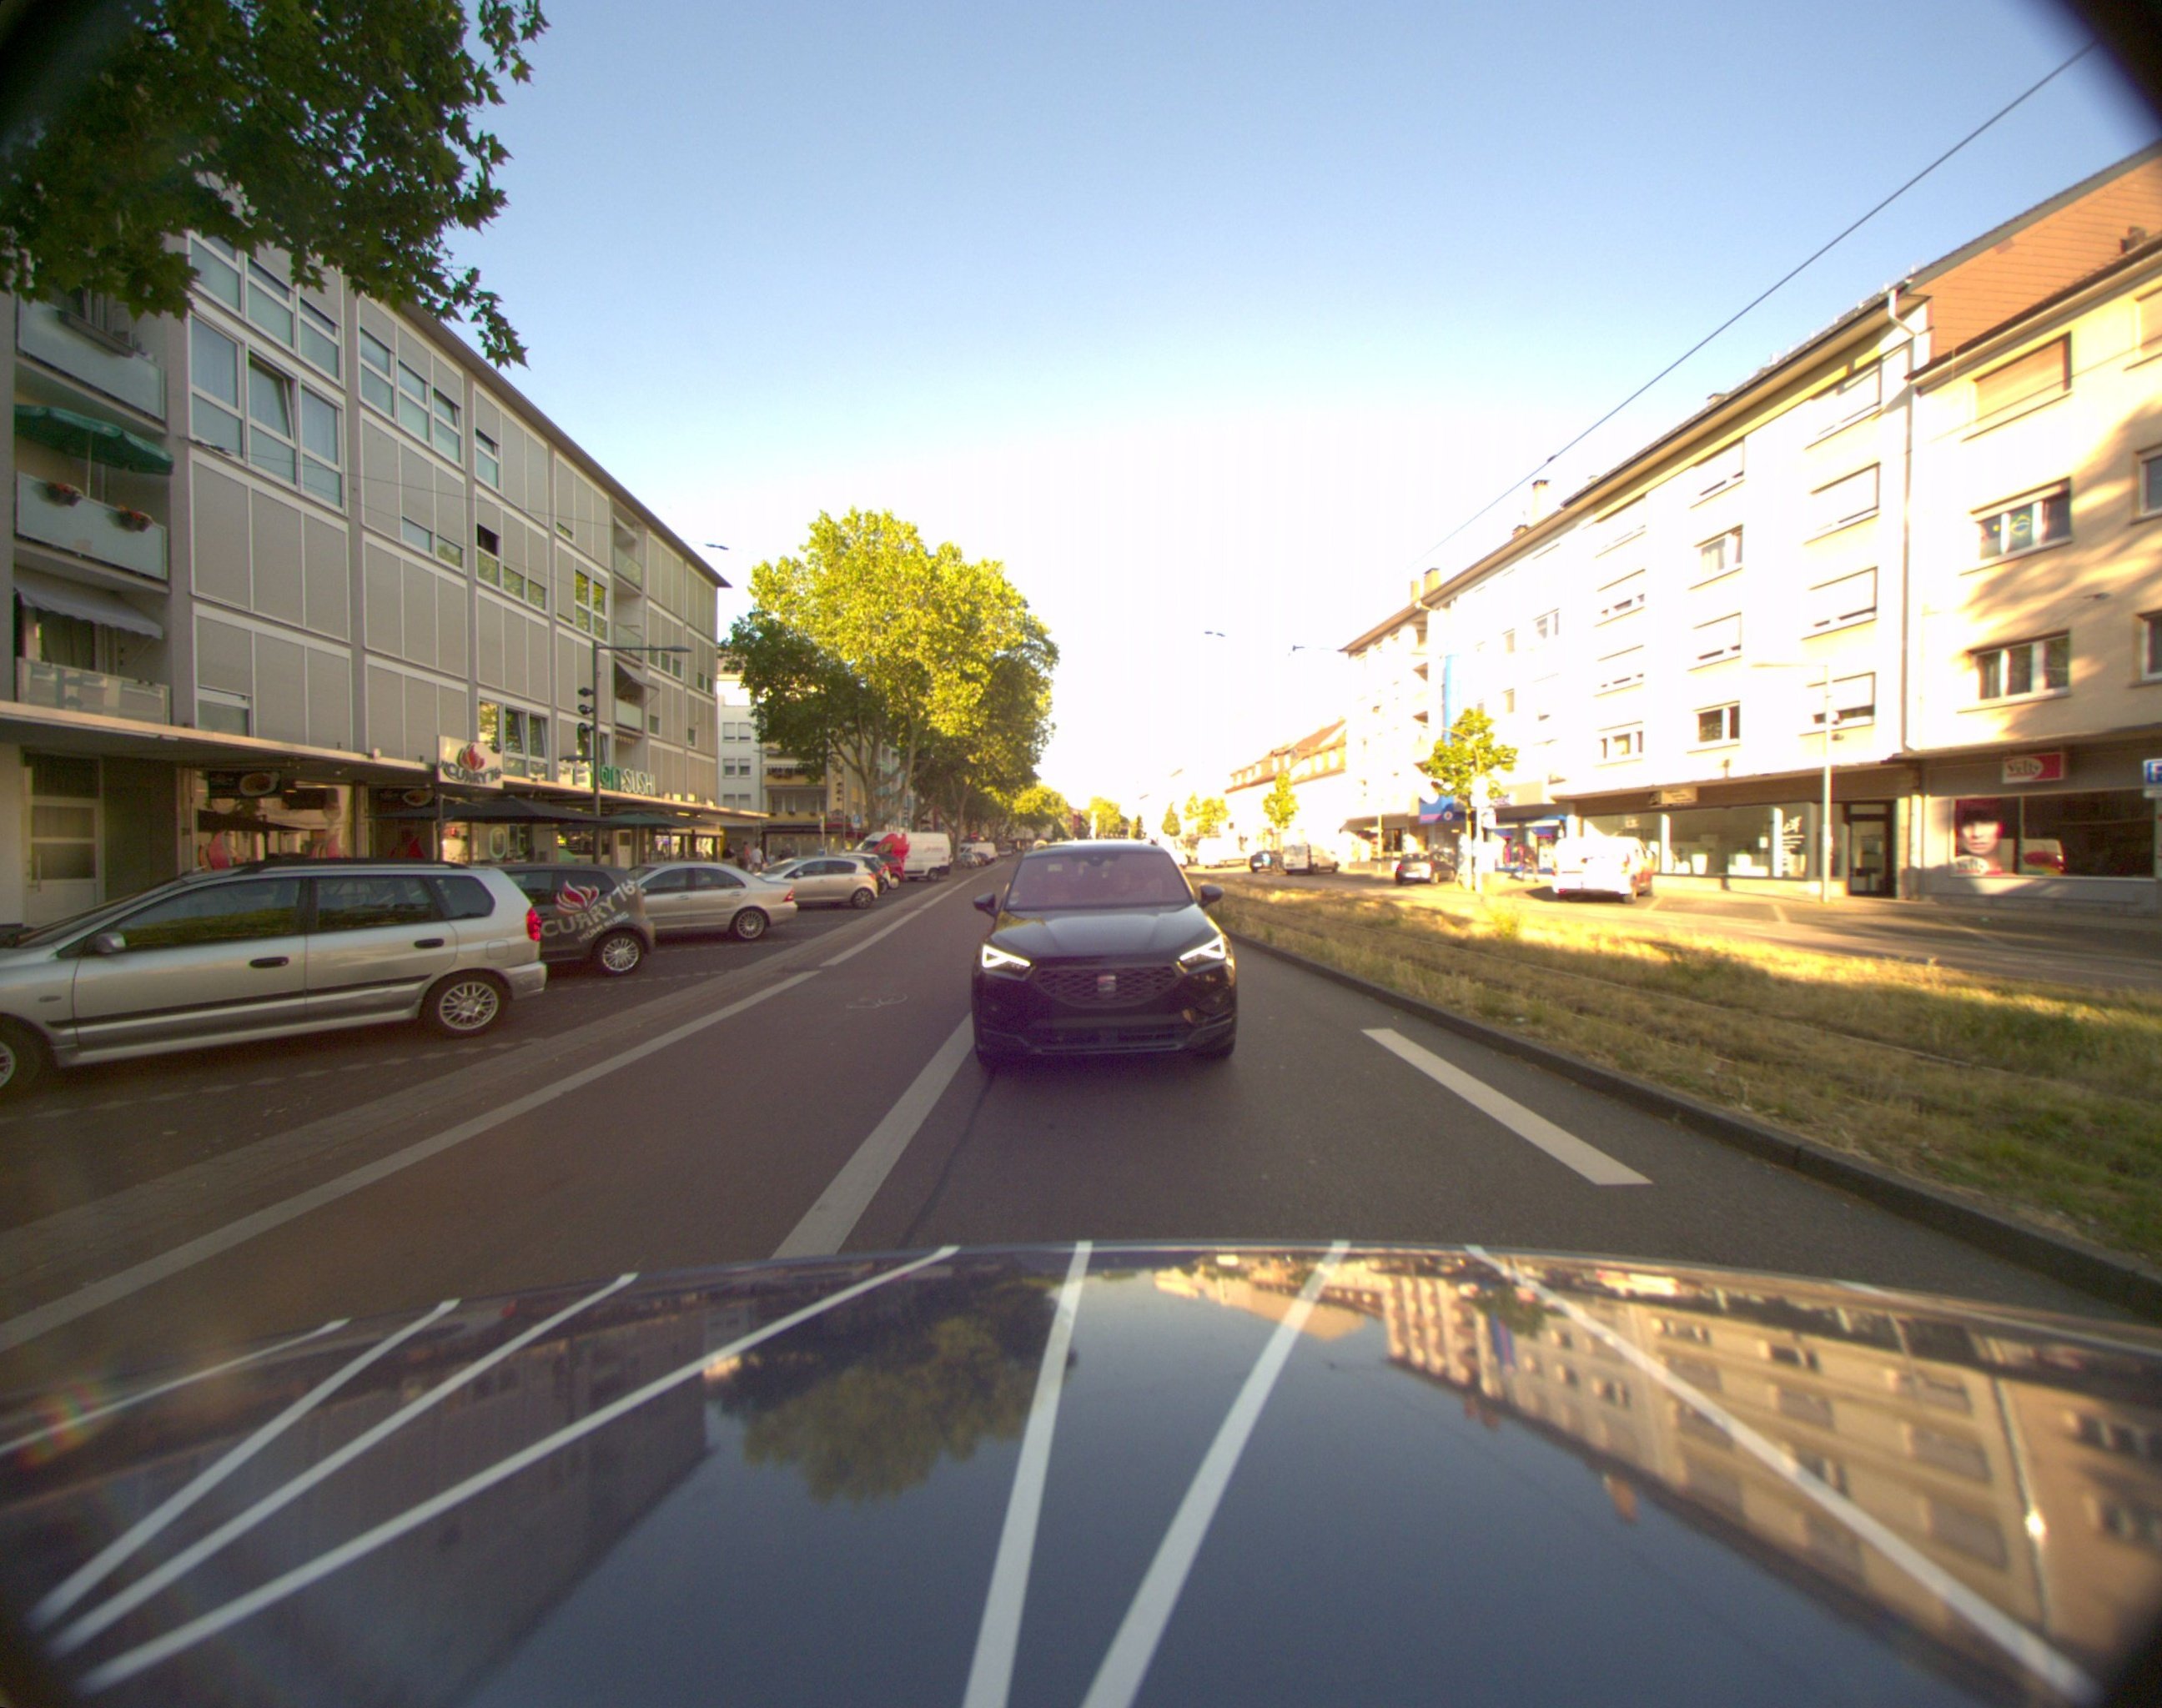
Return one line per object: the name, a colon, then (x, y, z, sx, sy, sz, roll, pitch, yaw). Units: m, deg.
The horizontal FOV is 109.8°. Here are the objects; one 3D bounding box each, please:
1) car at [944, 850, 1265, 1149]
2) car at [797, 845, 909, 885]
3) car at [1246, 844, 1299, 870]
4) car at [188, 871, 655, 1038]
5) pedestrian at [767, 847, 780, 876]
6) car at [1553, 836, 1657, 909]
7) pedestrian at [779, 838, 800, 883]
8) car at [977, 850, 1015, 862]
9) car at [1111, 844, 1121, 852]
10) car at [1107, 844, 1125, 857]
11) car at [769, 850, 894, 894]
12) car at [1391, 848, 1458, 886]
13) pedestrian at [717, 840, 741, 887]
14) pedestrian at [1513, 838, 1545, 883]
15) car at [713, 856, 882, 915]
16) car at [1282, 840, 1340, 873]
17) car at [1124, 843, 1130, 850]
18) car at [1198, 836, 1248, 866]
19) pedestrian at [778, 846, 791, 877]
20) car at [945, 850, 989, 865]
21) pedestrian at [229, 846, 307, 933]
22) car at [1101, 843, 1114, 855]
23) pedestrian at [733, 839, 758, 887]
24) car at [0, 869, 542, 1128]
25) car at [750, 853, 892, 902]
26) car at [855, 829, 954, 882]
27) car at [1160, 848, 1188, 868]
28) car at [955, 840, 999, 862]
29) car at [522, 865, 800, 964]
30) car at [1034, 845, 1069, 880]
car: (0.178, 0.832, 6.377, 1.784, 1.639, 4.000, -2, 1, 1)
car: (-9.129, 0.452, 30.499, 3.948, 1.421, 1.672, 1, 2, -32)
car: (13.816, 0.223, 54.683, 3.922, 1.704, 1.853, -2, 1, -45)
car: (-7.537, 0.967, 9.046, 1.672, 1.420, 3.950, 2, 1, 38)
pedestrian: (-17.011, 0.418, 42.076, 0.537, 1.630, 0.478, 0, 1, -4)
car: (15.621, 0.467, 22.575, 1.853, 1.888, 4.007, -1, 2, 44)
pedestrian: (-13.113, 0.304, 34.181, 0.748, 2.002, 0.559, 0, 1, -4)
car: (-9.235, 0.206, 82.790, 1.778, 1.326, 3.943, 0, 1, 44)
car: (8.897, -1.488, 193.545, 2.498, 1.871, 5.273, 0, 1, 1)
car: (4.801, -0.477, 104.972, 1.999, 1.783, 3.998, 0, 1, -4)
car: (-8.921, 0.649, 27.280, 3.948, 1.421, 1.672, 2, 2, -32)
car: (15.382, 0.538, 33.919, 1.731, 1.489, 4.008, -1, 1, 40)
pedestrian: (-14.947, 0.383, 32.244, 0.748, 1.964, 0.575, 0, 1, -4)
pedestrian: (18.474, 0.276, 31.348, 0.757, 1.817, 0.917, -1, 1, -3)
car: (-7.565, 0.805, 20.507, 3.950, 1.420, 1.555, 1, 1, -45)
car: (14.543, 0.140, 47.811, 1.853, 1.927, 4.513, -1, 1, 40)
car: (15.012, -2.435, 247.160, 1.842, 2.002, 4.001, 0, 1, 4)
car: (12.922, -0.322, 68.637, 1.922, 2.599, 6.601, -1, 1, 34)
pedestrian: (-16.444, 0.393, 42.121, 0.545, 1.710, 0.457, 0, 1, -4)
car: (-10.908, 0.316, 73.002, 1.778, 1.396, 3.943, 1, 1, 44)
pedestrian: (-15.092, 0.638, 14.126, 0.583, 1.573, 0.771, 0, 1, 2)
car: (4.700, -0.926, 136.010, 1.906, 2.002, 3.998, 0, 1, -4)
pedestrian: (-14.124, 0.379, 31.992, 0.748, 2.002, 0.764, 0, 1, -4)
car: (-6.893, 0.939, 5.989, 1.672, 1.533, 3.993, 2, 1, 38)
car: (-8.214, 0.739, 24.119, 3.949, 1.420, 1.672, 1, 1, -34)
car: (-8.719, 0.072, 37.849, 4.606, 2.479, 1.672, 0, 0, -44)
car: (7.771, 0.305, 63.810, 1.845, 1.571, 4.450, -1, 1, 2)
car: (-11.579, -0.372, 85.002, 1.973, 2.454, 4.605, 1, 1, 44)
car: (-7.183, 0.932, 13.319, 1.592, 1.393, 3.950, 2, 1, 41)
car: (-1.480, 0.408, 39.280, 1.646, 1.646, 3.999, -2, 1, -1)
